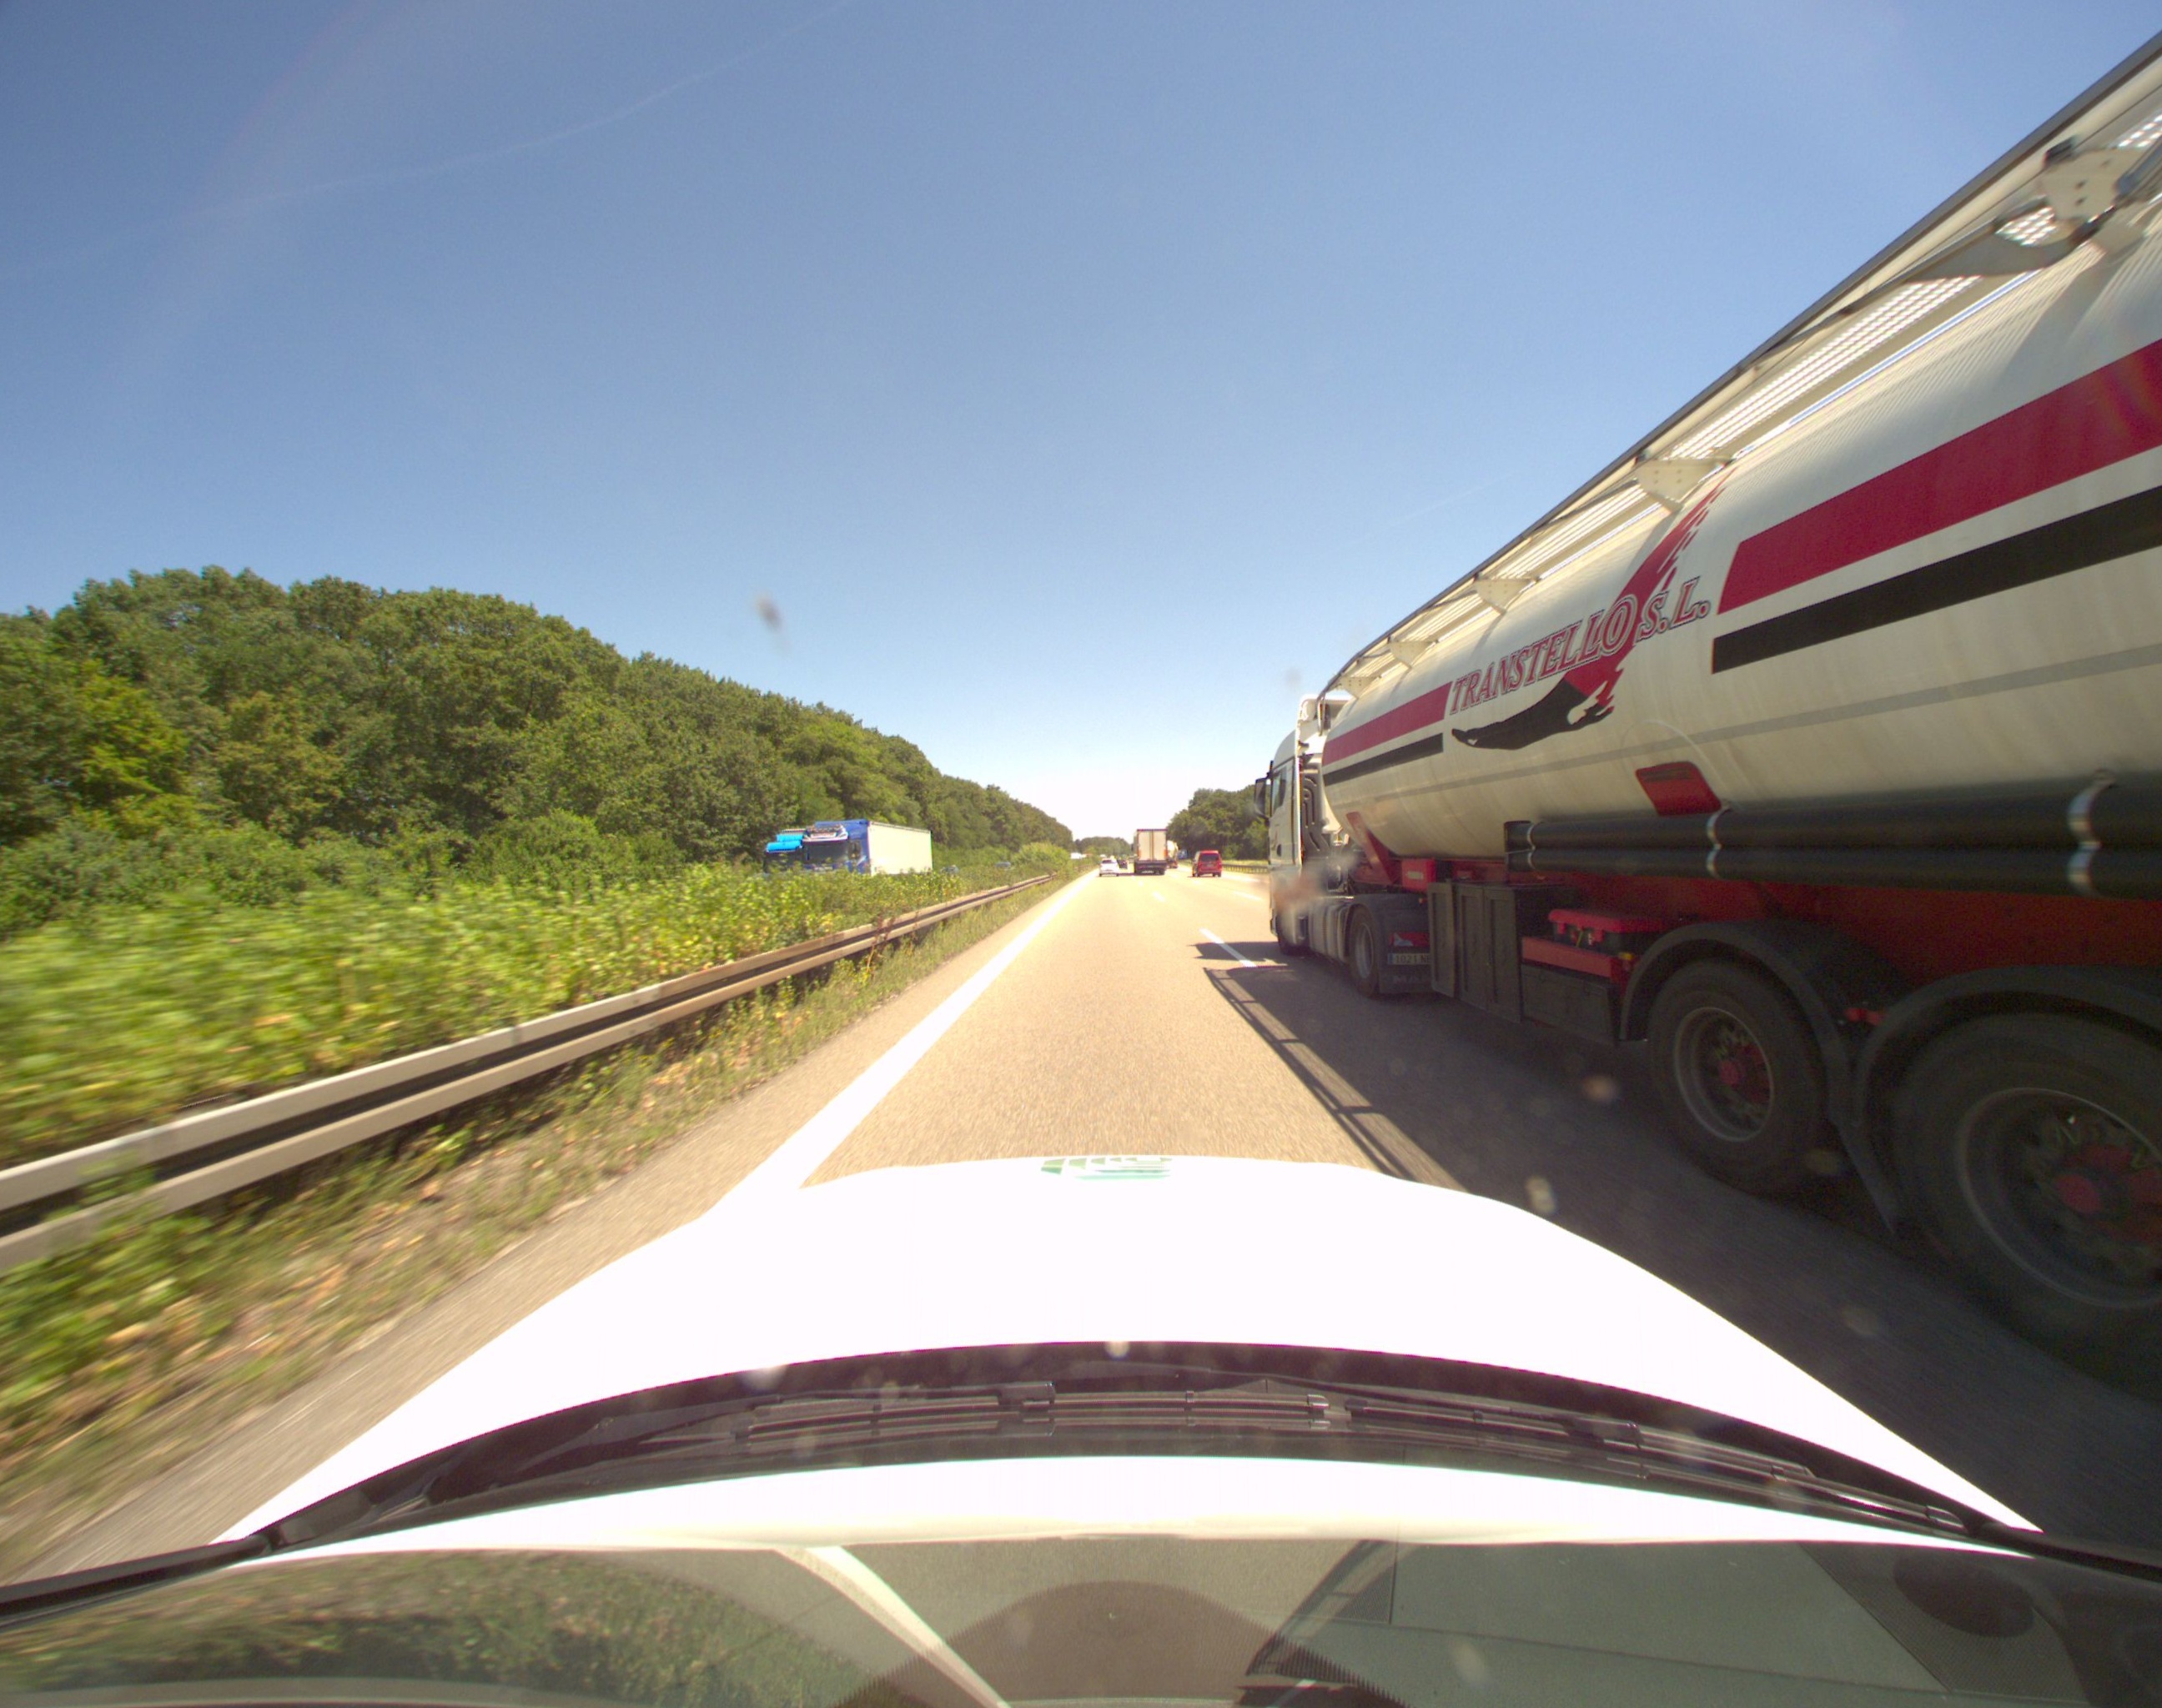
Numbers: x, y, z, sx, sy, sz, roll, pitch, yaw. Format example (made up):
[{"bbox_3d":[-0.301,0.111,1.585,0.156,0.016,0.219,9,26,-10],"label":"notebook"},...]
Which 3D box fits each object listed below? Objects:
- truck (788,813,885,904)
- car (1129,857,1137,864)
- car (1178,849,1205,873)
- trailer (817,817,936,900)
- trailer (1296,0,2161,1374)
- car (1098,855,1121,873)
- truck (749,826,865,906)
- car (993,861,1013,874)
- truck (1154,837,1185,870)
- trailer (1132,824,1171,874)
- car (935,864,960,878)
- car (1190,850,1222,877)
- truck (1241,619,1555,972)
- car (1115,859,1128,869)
[{"bbox_3d":[-11.571,0.201,39.033,2.859,4.009,5.002,-2,0,2],"label":"truck"},{"bbox_3d":[12.967,1.590,203.325,1.662,1.765,4.002,-2,0,2],"label":"car"},{"bbox_3d":[9.604,0.620,71.166,1.985,2.014,4.003,-1,0,3],"label":"car"},{"bbox_3d":[-11.290,0.230,46.877,2.859,4.009,13.523,-2,0,2],"label":"trailer"},{"bbox_3d":[4.249,-0.748,4.791,2.780,4.204,12.354,-2,0,1],"label":"trailer"},{"bbox_3d":[2.422,0.853,69.535,1.805,1.405,3.317,-2,0,0],"label":"car"},{"bbox_3d":[-15.683,0.667,47.724,3.002,4.114,10.004,-2,0,2],"label":"truck"},{"bbox_3d":[-9.057,1.572,94.371,1.787,1.338,4.002,-2,0,2],"label":"car"},{"bbox_3d":[12.471,-0.086,115.811,3.212,4.345,10.807,-2,0,1],"label":"truck"},{"bbox_3d":[6.324,-0.415,74.885,3.210,4.143,12.363,-2,0,4],"label":"trailer"},{"bbox_3d":[-13.784,1.751,84.421,1.787,1.338,4.002,-2,0,2],"label":"car"},{"bbox_3d":[9.781,0.748,64.050,1.849,2.003,5.524,0,0,2],"label":"car"},{"bbox_3d":[4.333,-0.707,12.391,2.781,4.204,5.000,-2,0,1],"label":"truck"},{"bbox_3d":[5.451,1.349,110.981,1.662,1.289,4.002,-2,0,2],"label":"car"}]
